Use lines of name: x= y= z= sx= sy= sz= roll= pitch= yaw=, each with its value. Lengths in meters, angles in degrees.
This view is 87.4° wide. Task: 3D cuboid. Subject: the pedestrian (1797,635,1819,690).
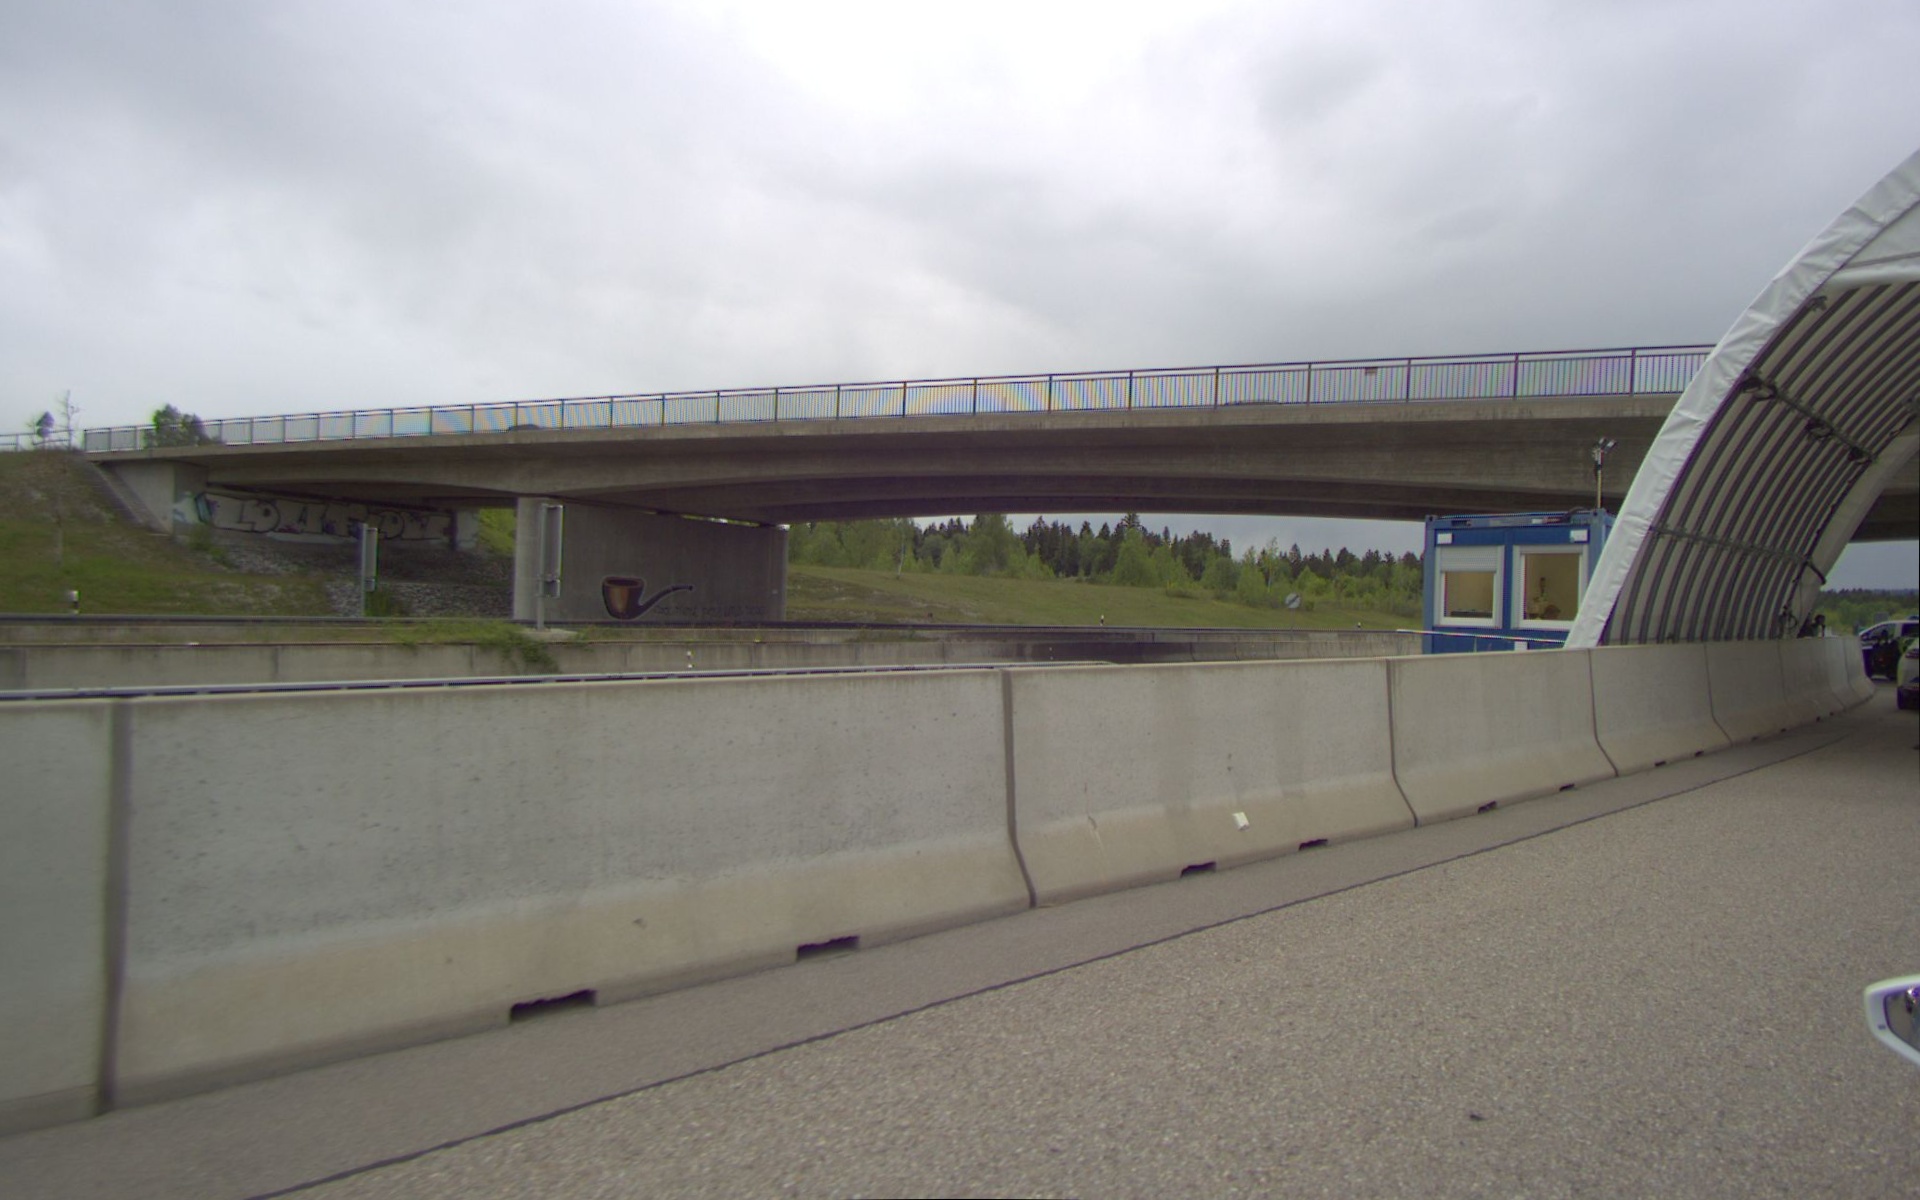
pedestrian: x=24.467 y=1.789 z=28.979 sx=0.496 sy=1.567 sz=0.460 roll=0 pitch=-1 yaw=42

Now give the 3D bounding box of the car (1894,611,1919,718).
car: x=16.884 y=1.062 z=16.609 sx=3.972 sy=1.668 sz=1.860 roll=2 pitch=-2 yaw=-43

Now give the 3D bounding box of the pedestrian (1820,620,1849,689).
pedestrian: x=26.368 y=1.622 z=30.283 sx=0.652 sy=2.040 sz=0.618 roll=2 pitch=-1 yaw=-44

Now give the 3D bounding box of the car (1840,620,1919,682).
car: x=32.833 y=1.713 z=33.621 sx=1.813 sy=2.040 sz=4.798 roll=1 pitch=-1 yaw=-21

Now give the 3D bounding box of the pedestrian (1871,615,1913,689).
pedestrian: x=26.211 y=1.443 z=28.255 sx=0.684 sy=2.040 sz=0.698 roll=1 pitch=-1 yaw=-29

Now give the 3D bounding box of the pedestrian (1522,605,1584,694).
pedestrian: x=9.525 y=0.791 z=16.148 sx=0.618 sy=1.391 sz=0.609 roll=1 pitch=-1 yaw=-20
